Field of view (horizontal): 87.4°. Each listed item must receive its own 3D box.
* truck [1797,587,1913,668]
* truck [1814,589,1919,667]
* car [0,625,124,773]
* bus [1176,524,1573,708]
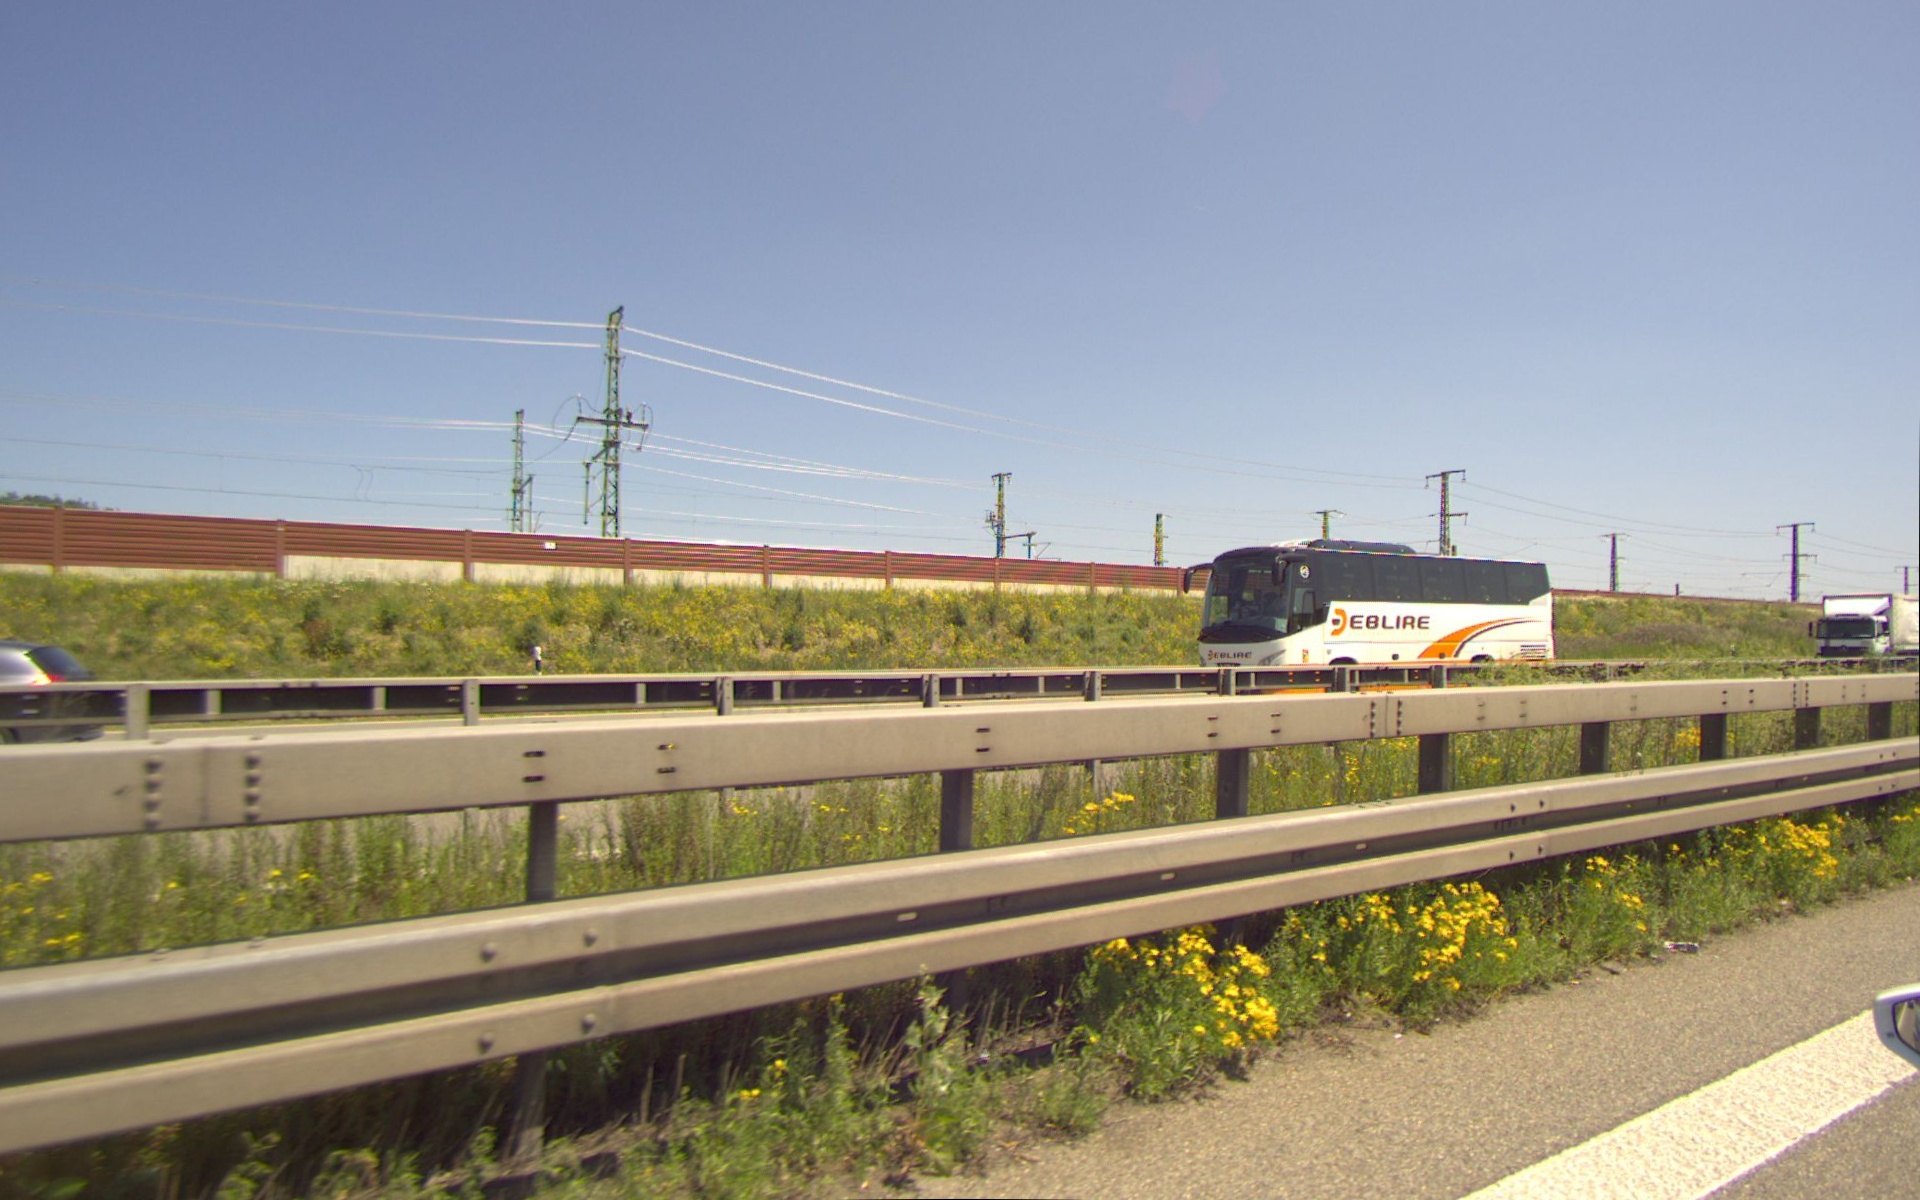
[{"bbox_3d":[41.459,1.233,46.535,3.976,3.513,2.834,1,1,-30],"label":"truck"},{"bbox_3d":[44.622,1.324,48.388,7.689,3.513,2.844,1,1,-30],"label":"truck"},{"bbox_3d":[-11.308,1.019,10.279,3.953,1.493,1.684,1,-3,-30],"label":"car"},{"bbox_3d":[10.279,0.397,24.172,10.813,3.694,2.842,1,1,-31],"label":"bus"}]
